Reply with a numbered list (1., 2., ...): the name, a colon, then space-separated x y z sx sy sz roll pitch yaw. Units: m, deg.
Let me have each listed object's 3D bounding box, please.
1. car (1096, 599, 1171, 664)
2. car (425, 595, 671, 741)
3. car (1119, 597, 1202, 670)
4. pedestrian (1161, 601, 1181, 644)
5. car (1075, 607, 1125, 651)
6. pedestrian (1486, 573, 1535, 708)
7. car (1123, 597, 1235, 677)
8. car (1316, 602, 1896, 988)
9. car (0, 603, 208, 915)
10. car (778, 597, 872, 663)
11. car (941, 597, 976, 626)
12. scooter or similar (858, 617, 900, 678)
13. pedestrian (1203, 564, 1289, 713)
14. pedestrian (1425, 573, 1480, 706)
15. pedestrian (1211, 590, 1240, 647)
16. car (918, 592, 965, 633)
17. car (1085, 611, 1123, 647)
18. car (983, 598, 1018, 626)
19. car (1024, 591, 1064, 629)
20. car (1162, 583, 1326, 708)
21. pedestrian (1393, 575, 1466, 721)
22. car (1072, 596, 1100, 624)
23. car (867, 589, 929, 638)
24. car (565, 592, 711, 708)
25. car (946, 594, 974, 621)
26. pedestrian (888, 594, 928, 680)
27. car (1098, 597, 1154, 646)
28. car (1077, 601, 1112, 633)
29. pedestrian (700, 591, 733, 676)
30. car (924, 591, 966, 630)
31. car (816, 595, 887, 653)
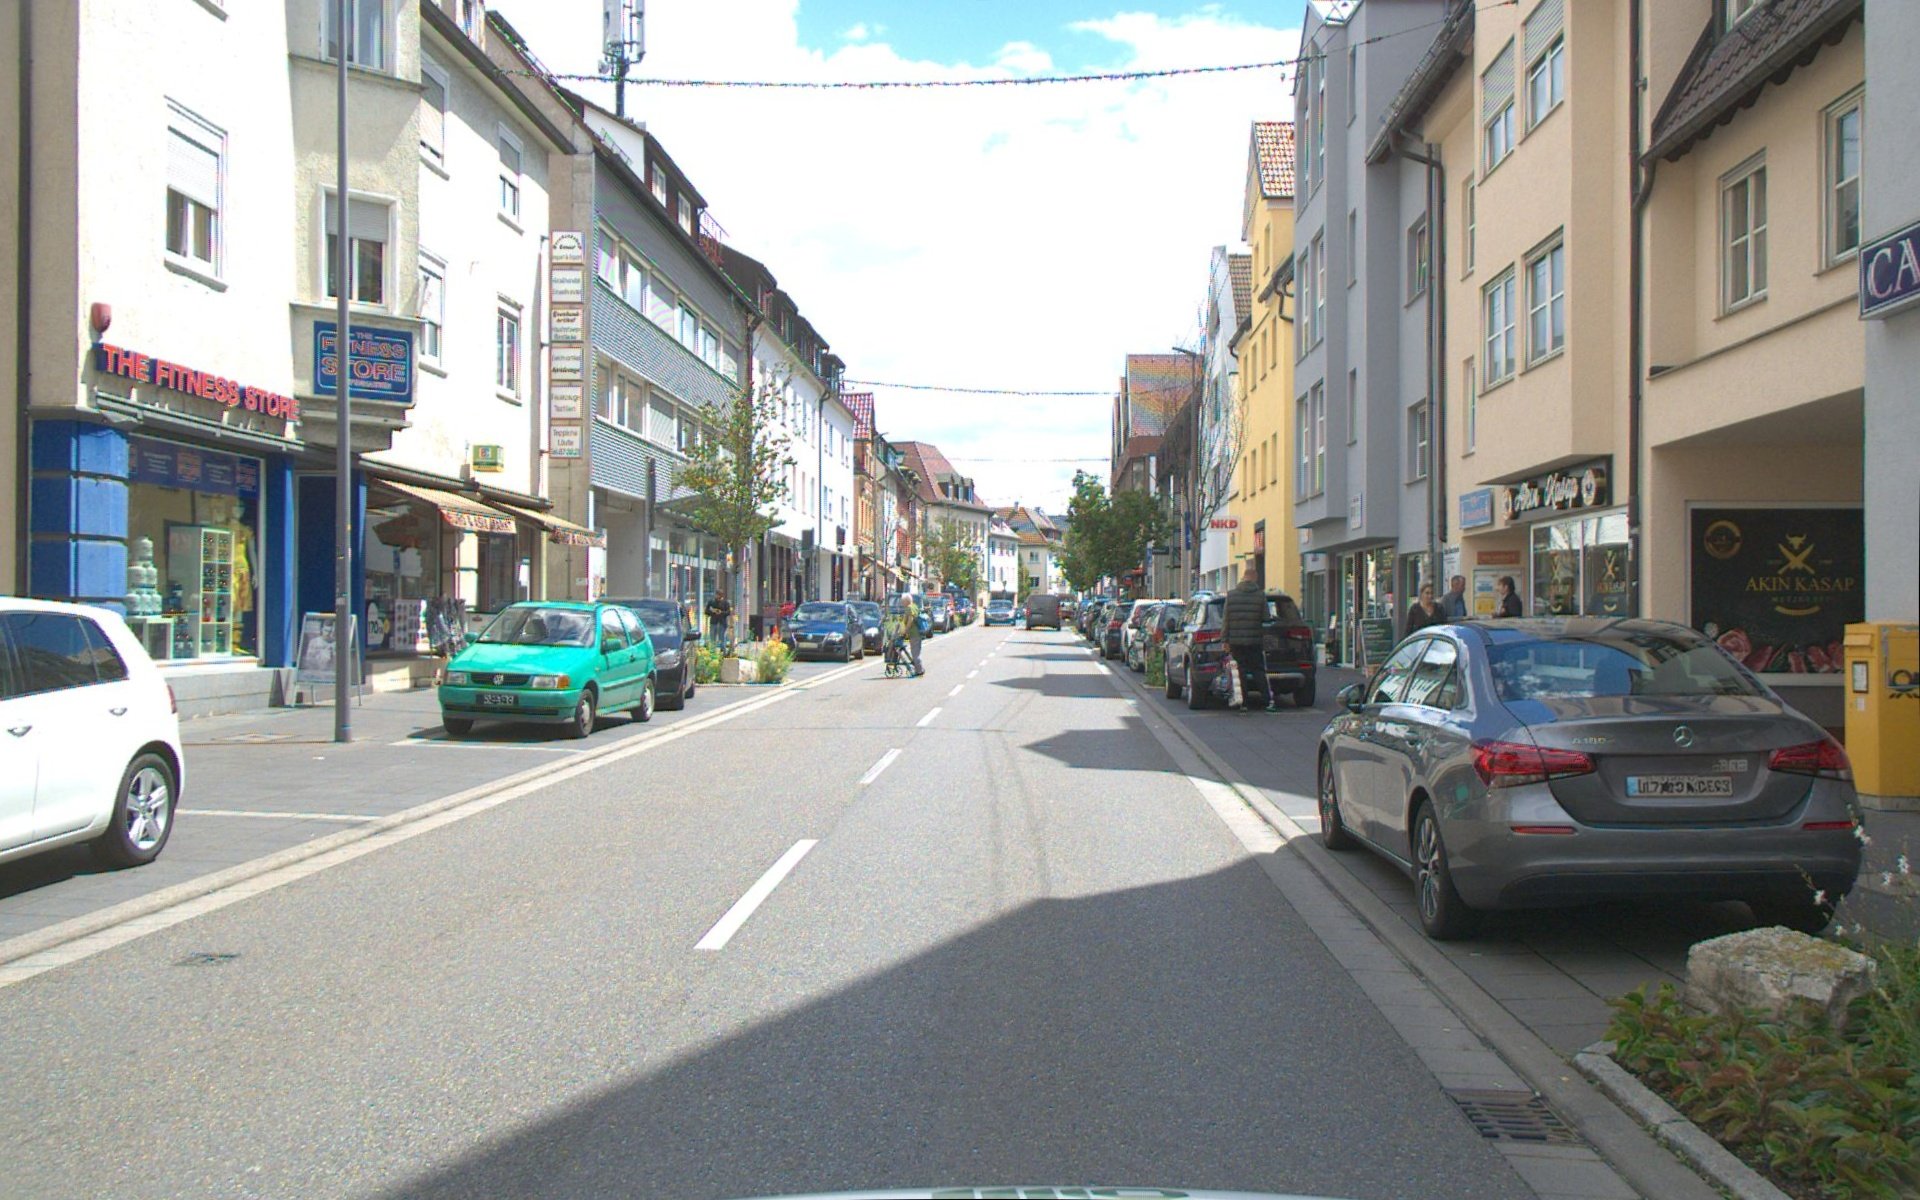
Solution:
1. car: 4.604 0.793 44.355 1.654 1.497 4.525 2 1 2
2. car: -4.545 0.727 18.761 1.552 1.439 3.670 2 -1 5
3. car: 4.736 0.796 39.488 1.654 1.601 3.757 2 -1 3
4. pedestrian: 8.848 0.944 69.327 0.726 1.767 0.757 2 -1 3
5. car: 5.419 1.137 64.346 1.685 1.604 4.109 2 -1 2
6. pedestrian: 7.286 0.532 21.903 0.427 1.748 0.537 2 -1 0
7. car: 4.417 0.745 33.893 1.655 1.466 4.295 -2 -1 0
8. car: 2.997 0.797 8.663 1.671 1.445 4.320 2 -1 5
9. car: -5.305 0.709 7.591 1.808 1.422 4.036 2 -1 0
10. car: -3.363 0.728 42.060 1.753 1.539 4.714 1 0 3
11. car: -0.067 0.676 98.445 1.762 1.626 4.390 1 0 3
12. scooter or similar: -1.565 0.914 32.082 0.766 1.145 0.630 2 -1 -2
13. pedestrian: 3.756 0.507 21.780 0.955 1.896 0.865 -1 -1 1
14. pedestrian: 6.621 0.534 22.254 0.524 1.748 0.606 2 -1 1
15. pedestrian: 7.511 0.522 46.845 0.734 1.580 0.726 0 -1 2
16. car: -0.852 0.615 78.035 1.778 1.786 4.466 2 -1 4
17. car: 6.828 1.400 78.840 1.685 1.604 4.430 2 -1 4
18. car: 2.470 0.727 99.414 1.865 1.591 4.647 2 -1 3
19. car: 4.431 0.557 86.936 1.998 1.881 5.001 2 -1 3
20. car: 4.062 0.610 24.264 1.762 1.631 4.205 -1 0 2
21. pedestrian: 5.740 0.583 20.239 0.728 1.748 0.656 0 -1 1
22. car: 7.255 0.573 95.385 1.575 1.559 3.797 -1 0 4
23. car: -2.402 0.552 64.952 1.778 1.786 4.671 2 -1 6
24. car: -4.490 0.685 23.482 1.565 1.471 3.554 2 -1 -4
25. car: -0.003 0.460 104.066 1.762 1.632 4.351 0 0 0
26. pedestrian: -0.999 0.715 32.109 0.716 1.646 0.651 2 -1 -2
27. car: 5.440 0.727 54.660 1.685 1.501 4.356 2 -1 4
28. car: 6.837 0.876 84.364 1.685 1.520 4.111 2 -1 4
29. pedestrian: -5.250 0.719 35.648 0.537 1.788 0.729 2 -1 0
30. car: -0.741 0.592 86.093 1.778 1.922 4.843 2 -1 4
31. car: -3.090 0.675 47.823 1.753 1.529 4.177 2 0 0
